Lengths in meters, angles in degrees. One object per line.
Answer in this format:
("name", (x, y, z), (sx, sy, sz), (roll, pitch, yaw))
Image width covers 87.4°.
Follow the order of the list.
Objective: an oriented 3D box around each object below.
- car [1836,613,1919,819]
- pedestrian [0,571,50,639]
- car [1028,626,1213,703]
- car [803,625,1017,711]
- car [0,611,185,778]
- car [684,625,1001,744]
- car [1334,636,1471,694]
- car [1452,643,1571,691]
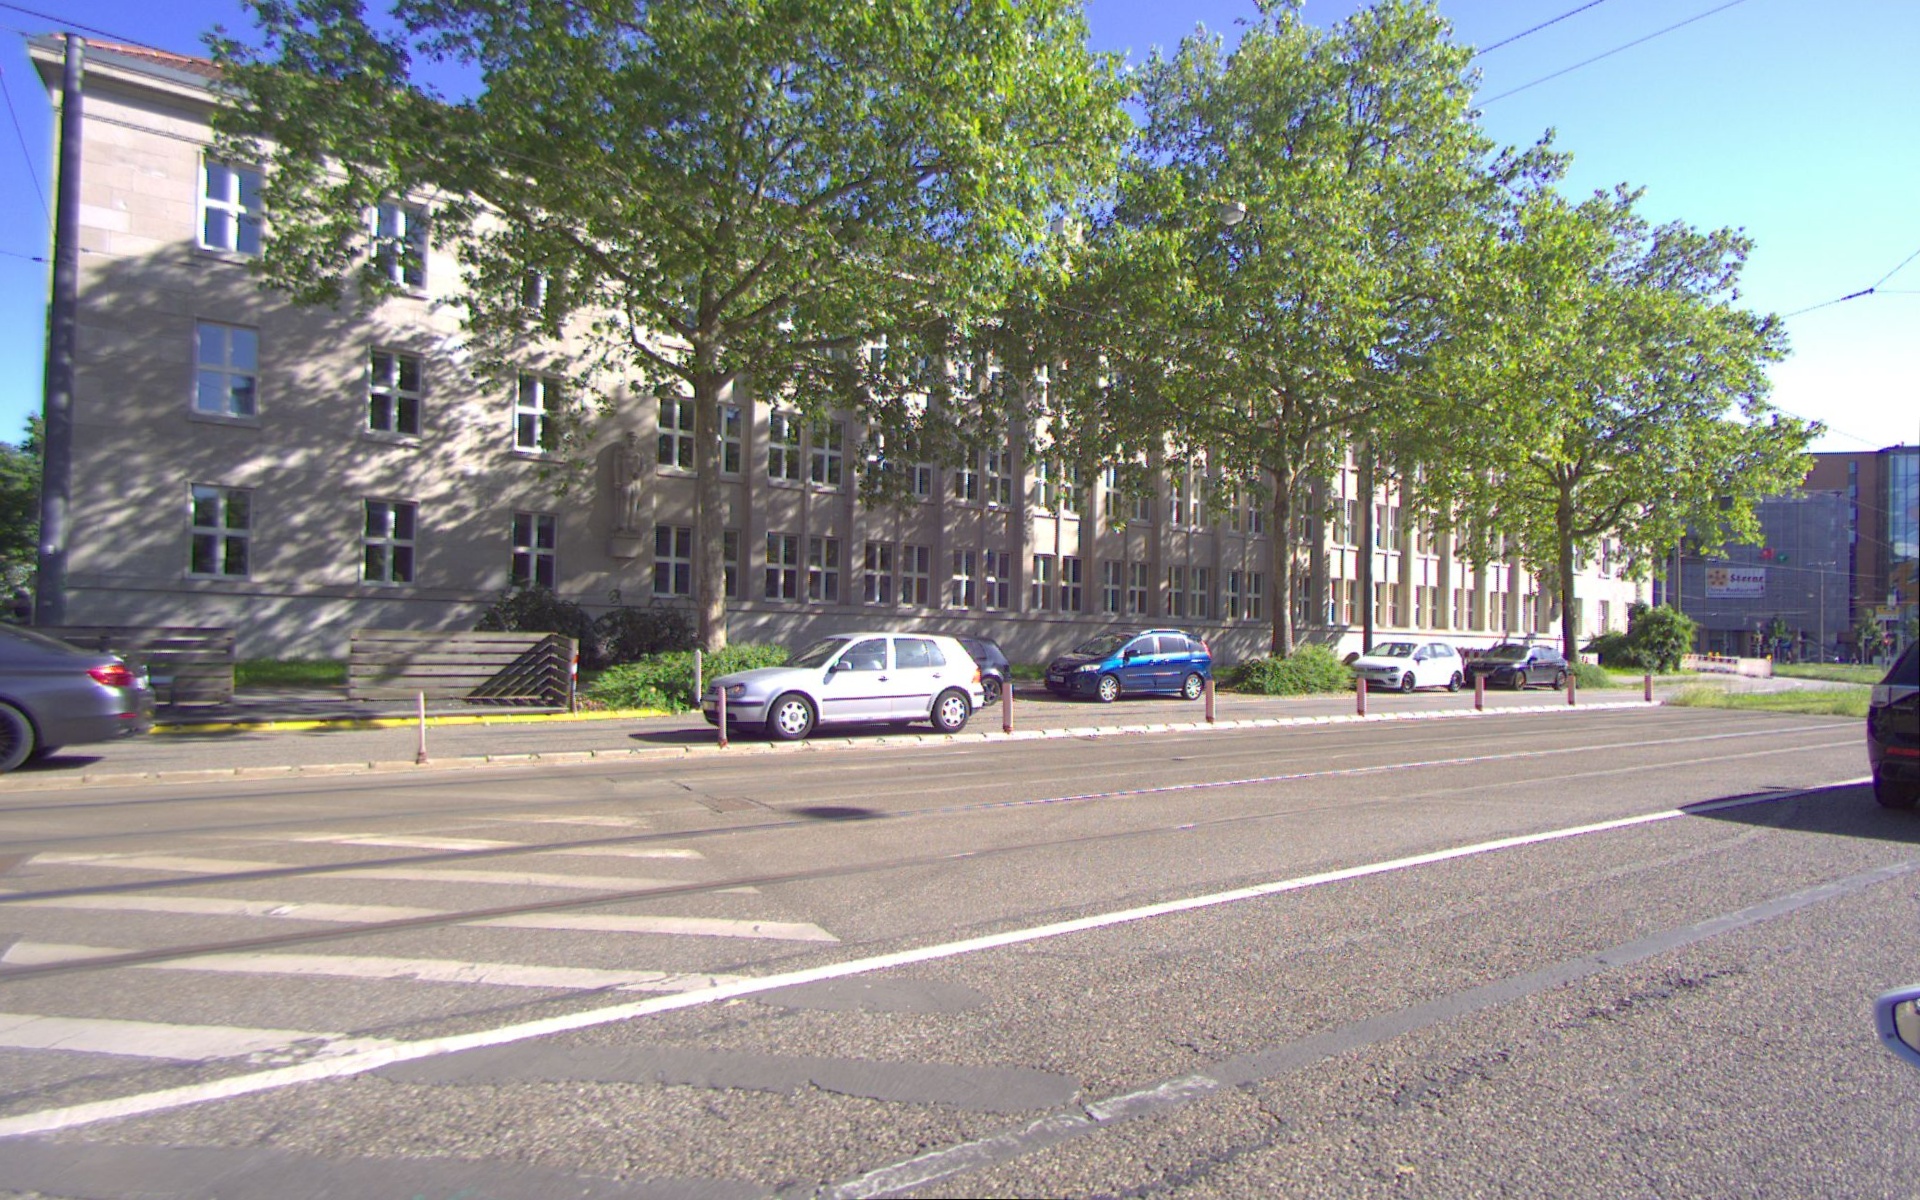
("car", (10.141, 1.097, 9.391), (4.596, 1.704, 1.824), (4, -1, -34))
("pedestrian", (-26.832, 0.153, 28.798), (0.892, 1.921, 0.805), (2, -1, -29))
("car", (3.871, 1.506, 23.909), (4.354, 1.660, 1.817), (3, -2, -36))
("car", (-0.958, 1.365, 20.599), (4.149, 1.568, 1.660), (3, -2, -36))
("car", (-10.154, 0.804, 8.932), (4.904, 1.472, 1.821), (3, -3, -31))
("car", (-1.620, 1.148, 14.351), (4.127, 1.472, 1.819), (3, -3, -33))
("car", (13.452, 1.962, 30.465), (4.352, 1.608, 1.818), (3, -3, -35))
("car", (18.800, 2.269, 34.200), (4.137, 1.512, 1.819), (3, -2, -33))
